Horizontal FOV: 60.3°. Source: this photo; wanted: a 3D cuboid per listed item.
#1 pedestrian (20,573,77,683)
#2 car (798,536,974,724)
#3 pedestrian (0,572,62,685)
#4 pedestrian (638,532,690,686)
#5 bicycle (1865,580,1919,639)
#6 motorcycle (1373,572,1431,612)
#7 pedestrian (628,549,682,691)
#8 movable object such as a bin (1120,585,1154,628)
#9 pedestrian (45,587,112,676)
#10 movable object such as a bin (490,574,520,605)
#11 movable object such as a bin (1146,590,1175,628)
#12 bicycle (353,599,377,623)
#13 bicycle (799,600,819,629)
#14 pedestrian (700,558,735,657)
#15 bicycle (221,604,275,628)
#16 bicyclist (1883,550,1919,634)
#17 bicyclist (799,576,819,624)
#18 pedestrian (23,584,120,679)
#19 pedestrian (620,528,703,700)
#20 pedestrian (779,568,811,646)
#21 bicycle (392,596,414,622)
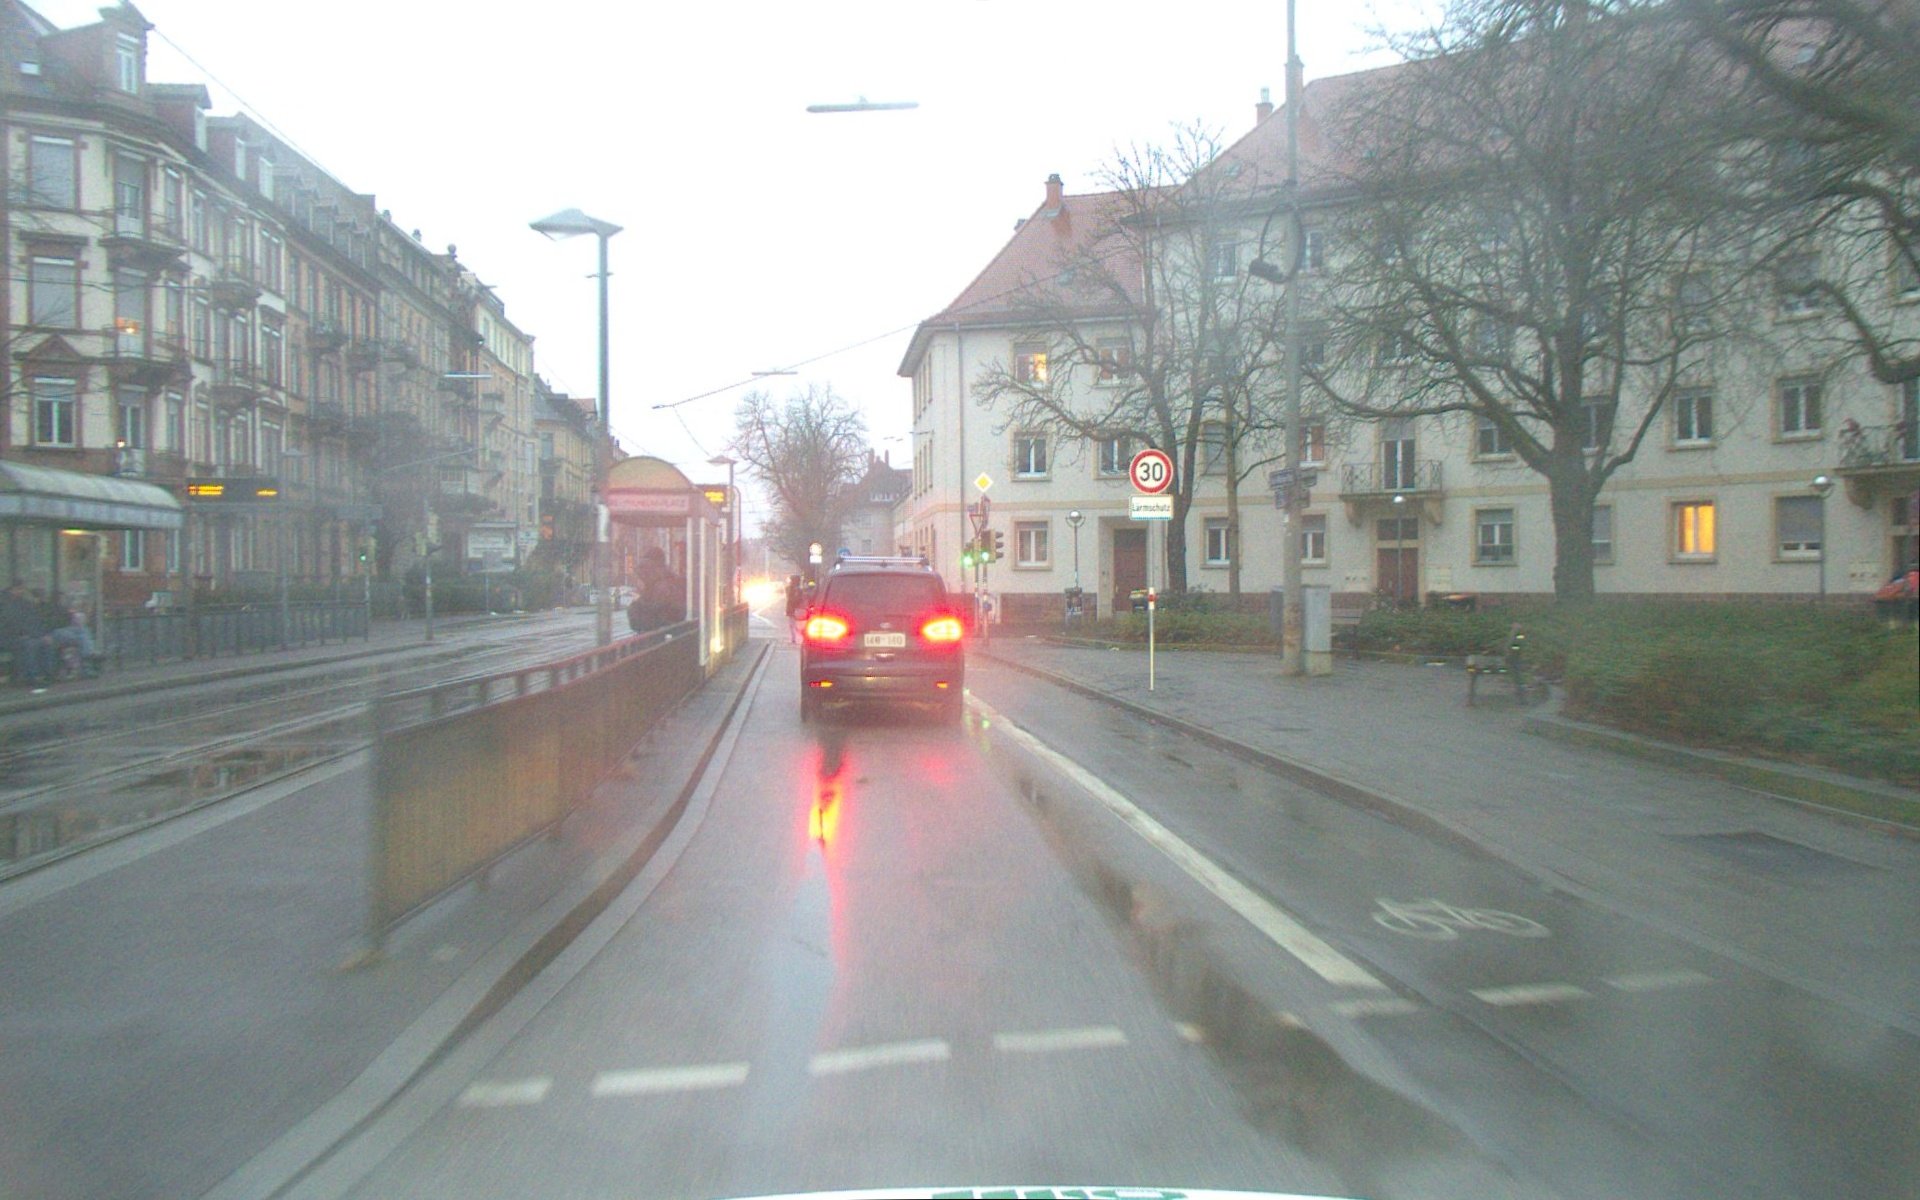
[{"bbox_3d":[-12.181,0.368,22.113,0.464,1.428,0.453,3,0,-6],"label":"pedestrian"},{"bbox_3d":[-0.912,0.304,19.431,1.766,1.903,4.015,3,0,-4],"label":"car"},{"bbox_3d":[-12.226,0.366,21.581,0.671,1.428,0.577,3,0,-6],"label":"pedestrian"},{"bbox_3d":[-3.969,0.122,22.229,0.546,2.022,0.570,3,0,-5],"label":"pedestrian"},{"bbox_3d":[21.717,0.201,38.181,0.457,1.314,1.912,0,0,-5],"label":"bicycle"},{"bbox_3d":[12.922,-0.246,48.397,0.565,1.124,1.579,-4,3,-41],"label":"motorcycle"},{"bbox_3d":[-3.913,0.247,21.217,0.546,1.771,0.570,3,0,-5],"label":"pedestrian"},{"bbox_3d":[5.470,0.188,51.030,0.838,1.273,0.520,3,0,37],"label":"movable object such as a bin"},{"bbox_3d":[-12.635,0.449,23.720,0.640,1.239,0.516,3,0,-6],"label":"pedestrian"},{"bbox_3d":[-24.050,-0.574,87.476,1.219,1.613,1.307,1,0,-1],"label":"movable object such as a bin"},{"bbox_3d":[6.126,0.275,50.549,0.687,1.139,0.536,3,0,37],"label":"movable object such as a bin"},{"bbox_3d":[-22.368,0.409,62.207,0.392,0.877,1.847,0,0,-4],"label":"bicycle"},{"bbox_3d":[-5.570,0.535,61.023,0.717,1.024,1.762,0,0,-4],"label":"bicycle"},{"bbox_3d":[-4.622,0.141,31.587,0.546,1.839,0.570,3,0,-5],"label":"pedestrian"},{"bbox_3d":[-24.098,0.543,56.012,0.392,0.772,1.807,0,0,30],"label":"bicycle"},{"bbox_3d":[21.742,-0.191,38.173,0.457,1.919,0.679,0,0,-6],"label":"bicyclist"},{"bbox_3d":[-5.581,0.012,61.092,0.716,1.767,0.765,0,0,-5],"label":"bicyclist"},{"bbox_3d":[-12.455,0.439,23.201,1.035,1.276,0.506,3,0,-6],"label":"pedestrian"},{"bbox_3d":[-3.567,0.159,19.782,0.837,1.990,0.570,3,0,-5],"label":"pedestrian"},{"bbox_3d":[-4.227,0.184,42.360,0.702,1.950,0.688,3,0,-7],"label":"pedestrian"},{"bbox_3d":[-22.582,0.347,67.035,0.408,1.024,1.847,0,0,-4],"label":"bicycle"}]
